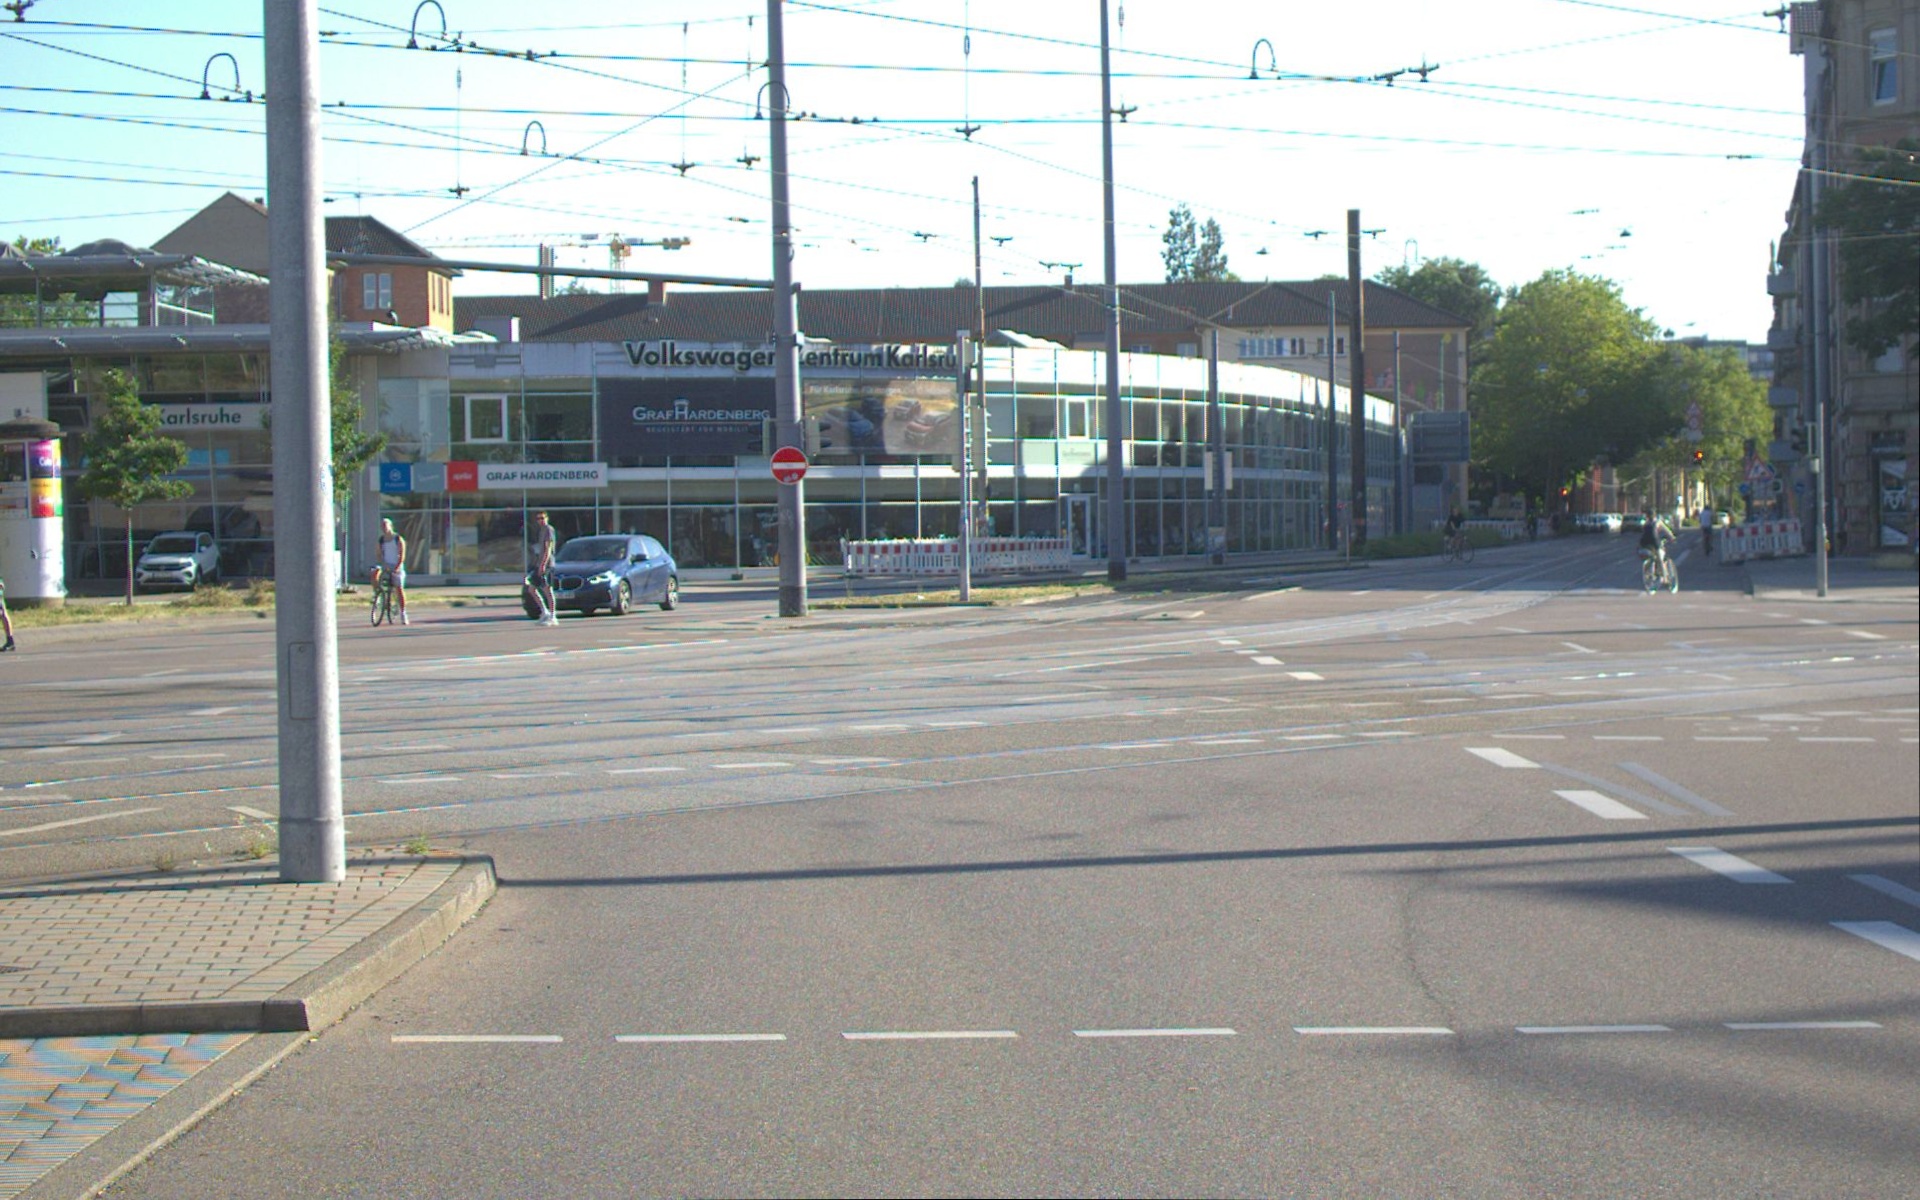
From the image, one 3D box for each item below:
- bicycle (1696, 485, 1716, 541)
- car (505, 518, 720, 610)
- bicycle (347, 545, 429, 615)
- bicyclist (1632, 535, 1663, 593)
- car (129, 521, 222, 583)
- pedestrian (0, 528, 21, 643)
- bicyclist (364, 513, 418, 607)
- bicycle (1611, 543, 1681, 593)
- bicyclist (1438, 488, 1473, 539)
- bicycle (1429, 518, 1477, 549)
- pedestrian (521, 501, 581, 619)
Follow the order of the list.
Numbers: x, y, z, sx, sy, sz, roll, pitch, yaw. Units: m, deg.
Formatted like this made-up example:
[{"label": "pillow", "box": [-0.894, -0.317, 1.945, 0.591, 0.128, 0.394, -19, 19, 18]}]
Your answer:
[{"label": "bicycle", "box": [27.139, -3.149, 125.033, 0.618, 2.007, 2.398, 1, 0, 13]}, {"label": "car", "box": [-6.191, -0.634, 61.699, 1.996, 1.579, 3.994, 1, 1, 27]}, {"label": "bicycle", "box": [-9.918, -0.346, 59.633, 0.613, 1.185, 1.867, 1, 1, 17]}, {"label": "bicyclist", "box": [13.120, -0.688, 65.613, 0.409, 1.112, 0.398, 1, 1, 43]}, {"label": "car", "box": [-22.610, -1.376, 99.207, 1.993, 1.744, 4.001, 1, 1, -4]}, {"label": "pedestrian", "box": [-14.594, -0.226, 51.467, 0.795, 1.700, 0.758, 1, 0, 7]}, {"label": "bicyclist", "box": [-9.880, -0.688, 59.722, 0.598, 1.610, 0.822, 1, 0, 17]}, {"label": "bicycle", "box": [13.095, -0.601, 65.584, 0.411, 0.938, 1.841, 1, 1, 42]}, {"label": "bicyclist", "box": [15.547, -2.720, 107.858, 0.771, 1.571, 0.762, 1, 0, -30]}, {"label": "bicycle", "box": [15.473, -2.096, 107.903, 0.657, 0.949, 1.600, 1, 1, -30]}, {"label": "pedestrian", "box": [-6.611, -0.649, 55.597, 0.795, 1.880, 0.758, 1, 0, 7]}]
